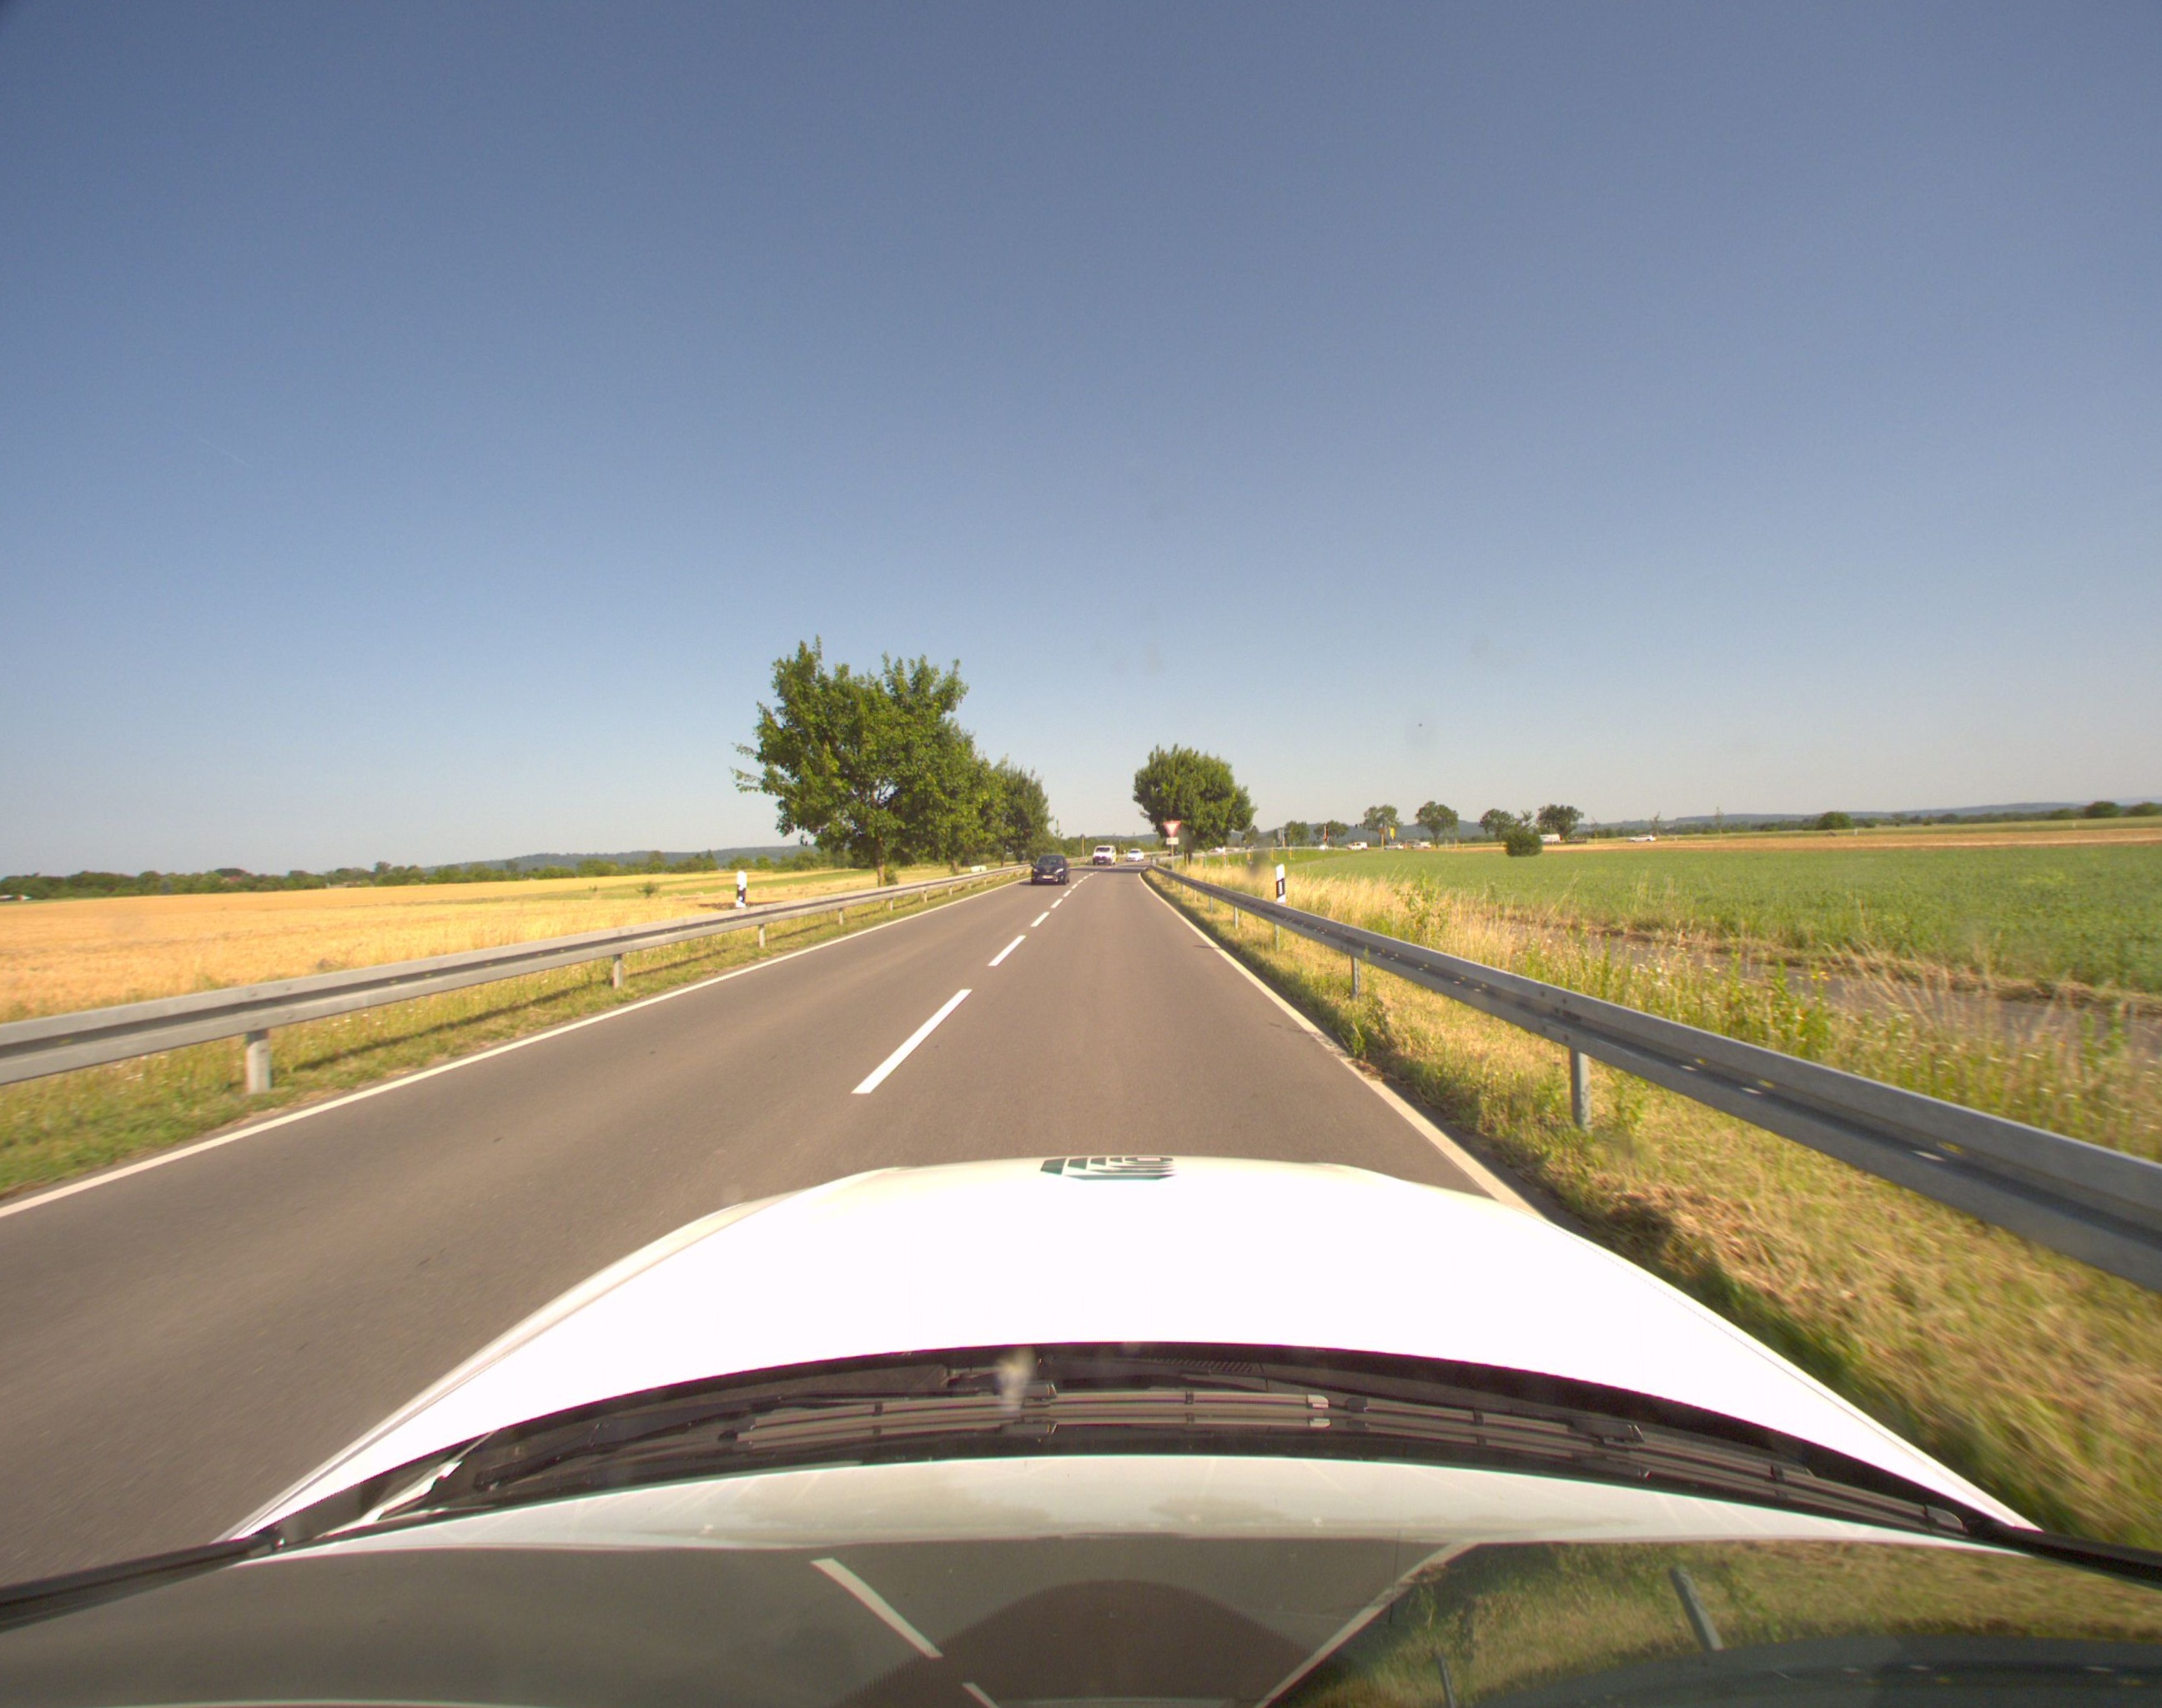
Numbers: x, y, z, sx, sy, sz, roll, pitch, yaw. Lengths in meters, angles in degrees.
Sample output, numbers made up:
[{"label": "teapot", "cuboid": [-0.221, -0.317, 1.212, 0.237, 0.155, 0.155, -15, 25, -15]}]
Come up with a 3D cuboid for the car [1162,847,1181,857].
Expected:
[{"label": "car", "cuboid": [14.039, -0.363, 125.927, 1.977, 1.532, 4.613, 0, 0, 18]}]

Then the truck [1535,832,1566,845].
[{"label": "truck", "cuboid": [101.982, -3.366, 176.780, 5.526, 2.695, 3.315, -1, -1, 34]}]

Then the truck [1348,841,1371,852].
[{"label": "truck", "cuboid": [69.138, -1.809, 202.108, 5.004, 2.529, 2.011, -1, -1, 25]}]

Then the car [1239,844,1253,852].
[{"label": "car", "cuboid": [34.333, -1.262, 169.248, 1.976, 1.532, 4.616, 0, 0, 22]}]

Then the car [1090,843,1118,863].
[{"label": "car", "cuboid": [2.352, -0.104, 81.921, 1.980, 1.884, 4.606, 0, 0, 11]}]

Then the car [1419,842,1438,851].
[{"label": "car", "cuboid": [83.299, -1.705, 195.336, 3.948, 2.014, 2.013, -1, -1, 33]}]

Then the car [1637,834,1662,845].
[{"label": "car", "cuboid": [115.512, -3.002, 165.366, 3.948, 2.014, 2.013, -3, -1, 39]}]

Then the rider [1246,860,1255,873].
[{"label": "rider", "cuboid": [19.818, 1.486, 95.043, 0.603, 1.527, 1.836, -1, -1, 24]}]

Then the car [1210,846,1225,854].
[{"label": "car", "cuboid": [25.294, -0.778, 150.580, 1.977, 1.532, 4.615, 0, 0, 20]}]

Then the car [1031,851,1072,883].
[{"label": "car", "cuboid": [-1.398, 0.603, 39.749, 1.637, 1.471, 3.810, -1, 0, 3]}]

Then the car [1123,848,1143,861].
[{"label": "car", "cuboid": [6.490, 0.019, 101.292, 1.889, 1.532, 4.607, 0, 0, 12]}]
